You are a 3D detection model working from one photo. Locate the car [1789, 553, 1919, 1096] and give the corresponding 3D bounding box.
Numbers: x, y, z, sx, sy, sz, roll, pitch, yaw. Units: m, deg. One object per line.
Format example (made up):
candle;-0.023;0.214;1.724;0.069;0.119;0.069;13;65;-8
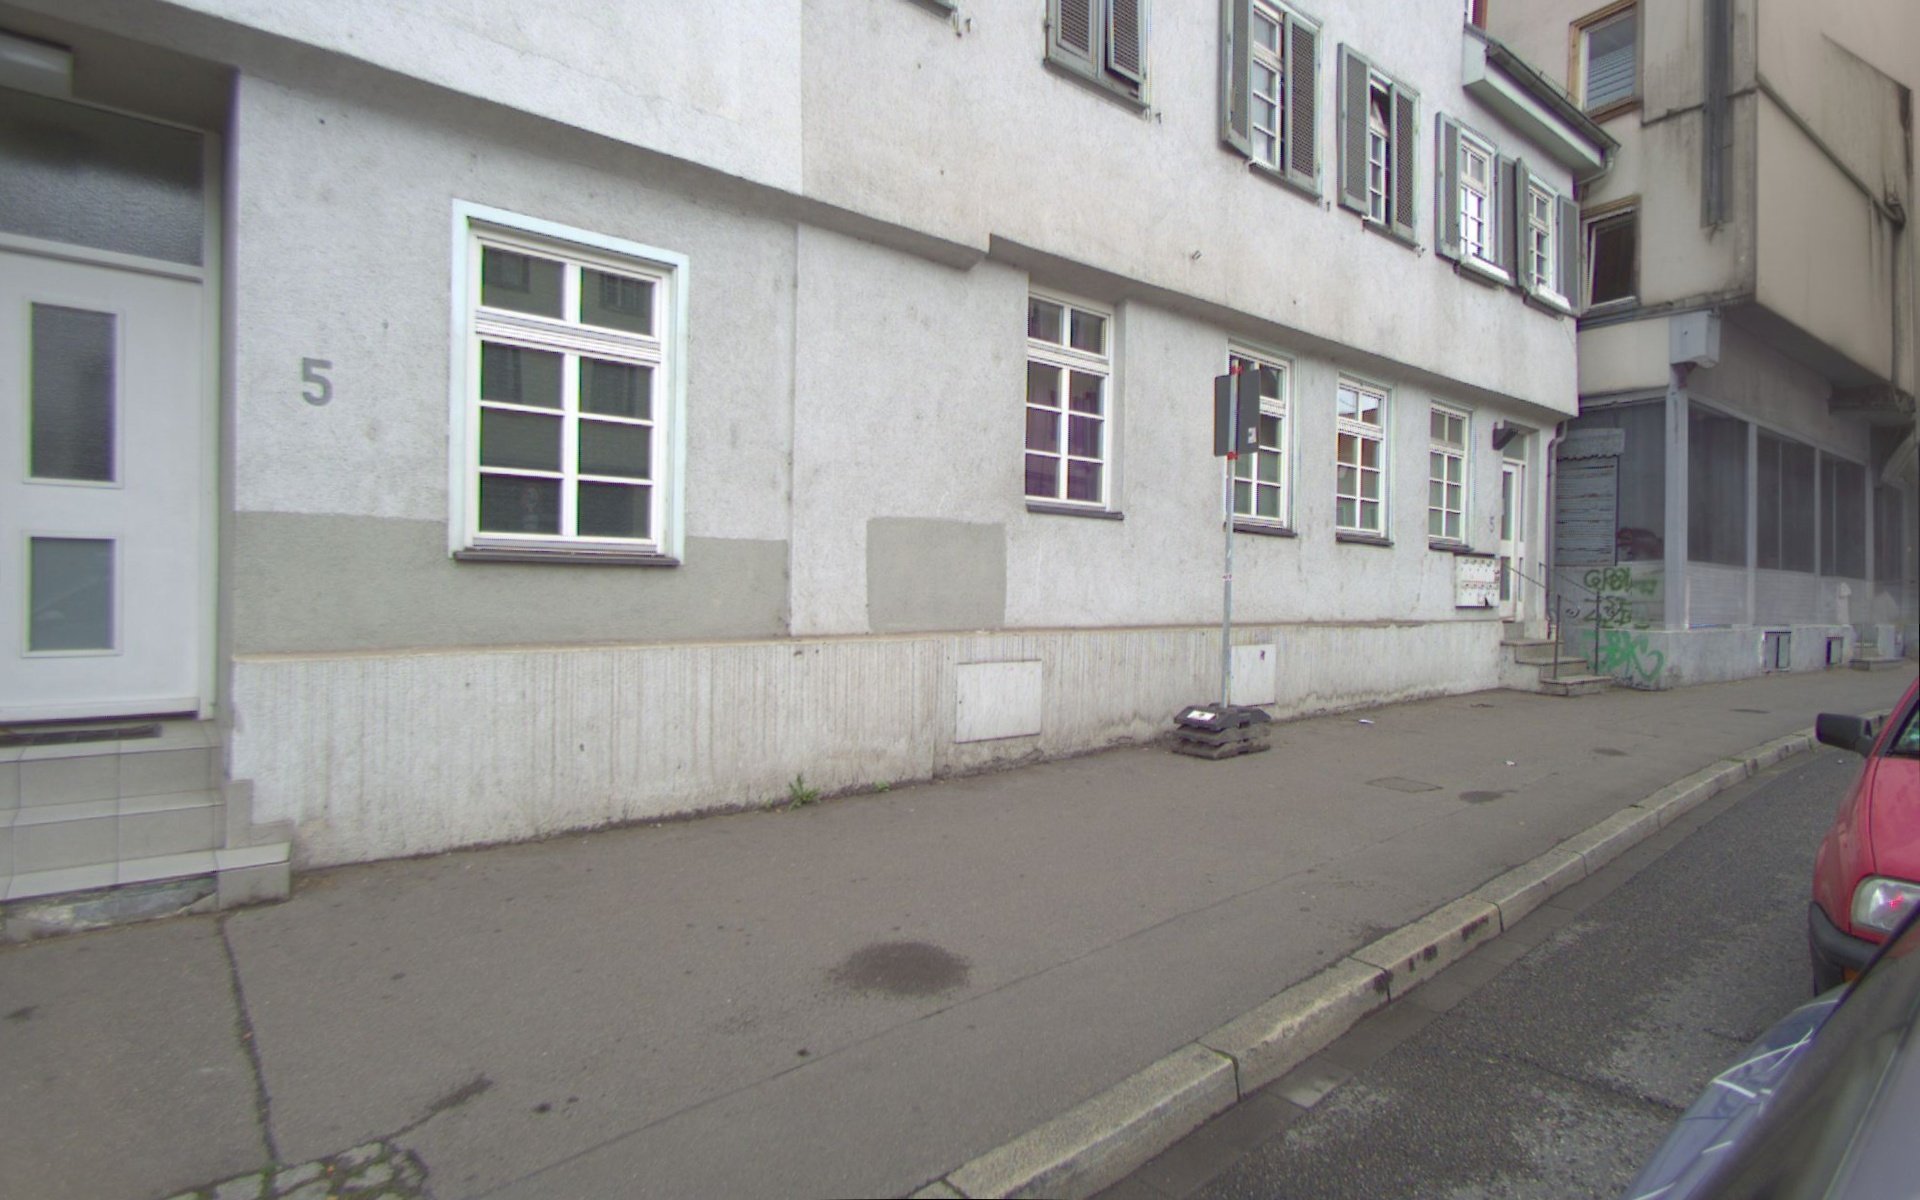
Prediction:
car;4.408;0.586;3.570;3.932;1.443;1.790;-1;1;-43
